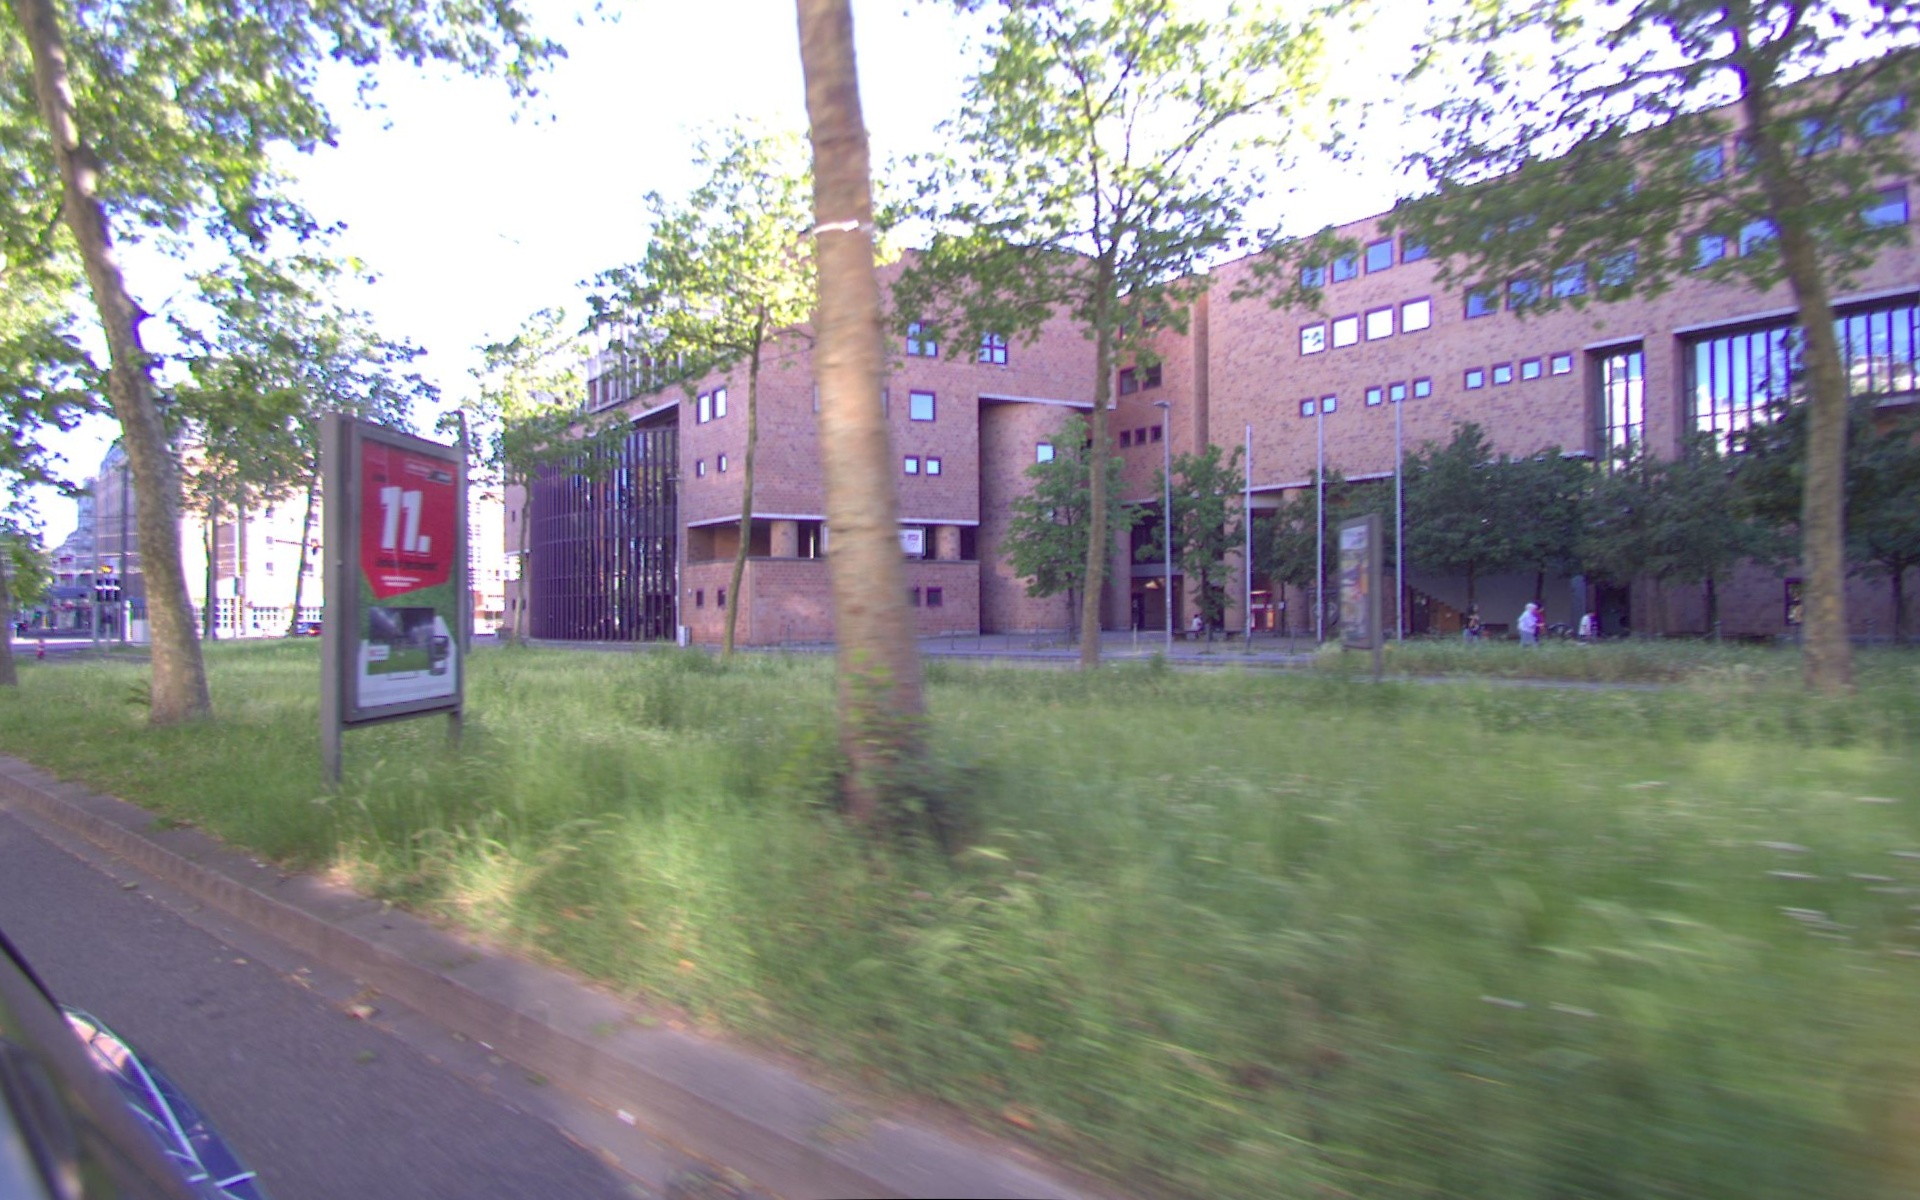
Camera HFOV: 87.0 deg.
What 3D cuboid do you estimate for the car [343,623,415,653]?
[{"bbox_3d":[-28.822,1.873,50.169,4.144,1.440,1.655,-2,-2,38],"label":"car"}]

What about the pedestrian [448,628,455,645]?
[{"bbox_3d":[-44.715,3.202,89.011,0.558,1.516,0.513,0,-3,-29],"label":"pedestrian"}]

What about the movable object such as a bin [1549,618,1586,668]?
[{"bbox_3d":[15.799,1.117,26.328,0.755,1.289,0.352,-2,-1,39],"label":"movable object such as a bin"}]

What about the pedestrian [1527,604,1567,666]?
[{"bbox_3d":[15.905,0.938,27.430,0.656,1.629,0.757,0,-2,-43],"label":"pedestrian"}]

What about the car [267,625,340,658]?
[{"bbox_3d":[-30.457,1.903,46.903,4.144,1.440,1.597,-2,-2,38],"label":"car"}]

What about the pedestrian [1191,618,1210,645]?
[{"bbox_3d":[10.780,1.396,45.350,0.628,1.207,0.659,-1,-1,29],"label":"pedestrian"}]

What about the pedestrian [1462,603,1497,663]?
[{"bbox_3d":[14.586,0.920,28.418,0.755,1.629,0.658,-2,-1,37],"label":"pedestrian"}]

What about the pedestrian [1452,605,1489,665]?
[{"bbox_3d":[14.027,0.959,27.804,0.755,1.629,0.657,-2,-1,38],"label":"pedestrian"}]

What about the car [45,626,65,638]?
[{"bbox_3d":[-122.530,4.345,136.985,3.999,1.663,1.681,-2,-1,42],"label":"car"}]

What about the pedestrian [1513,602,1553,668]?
[{"bbox_3d":[15.190,0.916,26.823,0.795,1.735,0.657,-2,-1,38],"label":"pedestrian"}]

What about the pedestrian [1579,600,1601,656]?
[{"bbox_3d":[17.157,0.755,27.565,0.462,1.517,0.478,-2,-1,36],"label":"pedestrian"}]

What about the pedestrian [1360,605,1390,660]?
[{"bbox_3d":[11.905,0.933,29.022,0.411,1.555,0.654,0,-2,-43],"label":"pedestrian"}]
